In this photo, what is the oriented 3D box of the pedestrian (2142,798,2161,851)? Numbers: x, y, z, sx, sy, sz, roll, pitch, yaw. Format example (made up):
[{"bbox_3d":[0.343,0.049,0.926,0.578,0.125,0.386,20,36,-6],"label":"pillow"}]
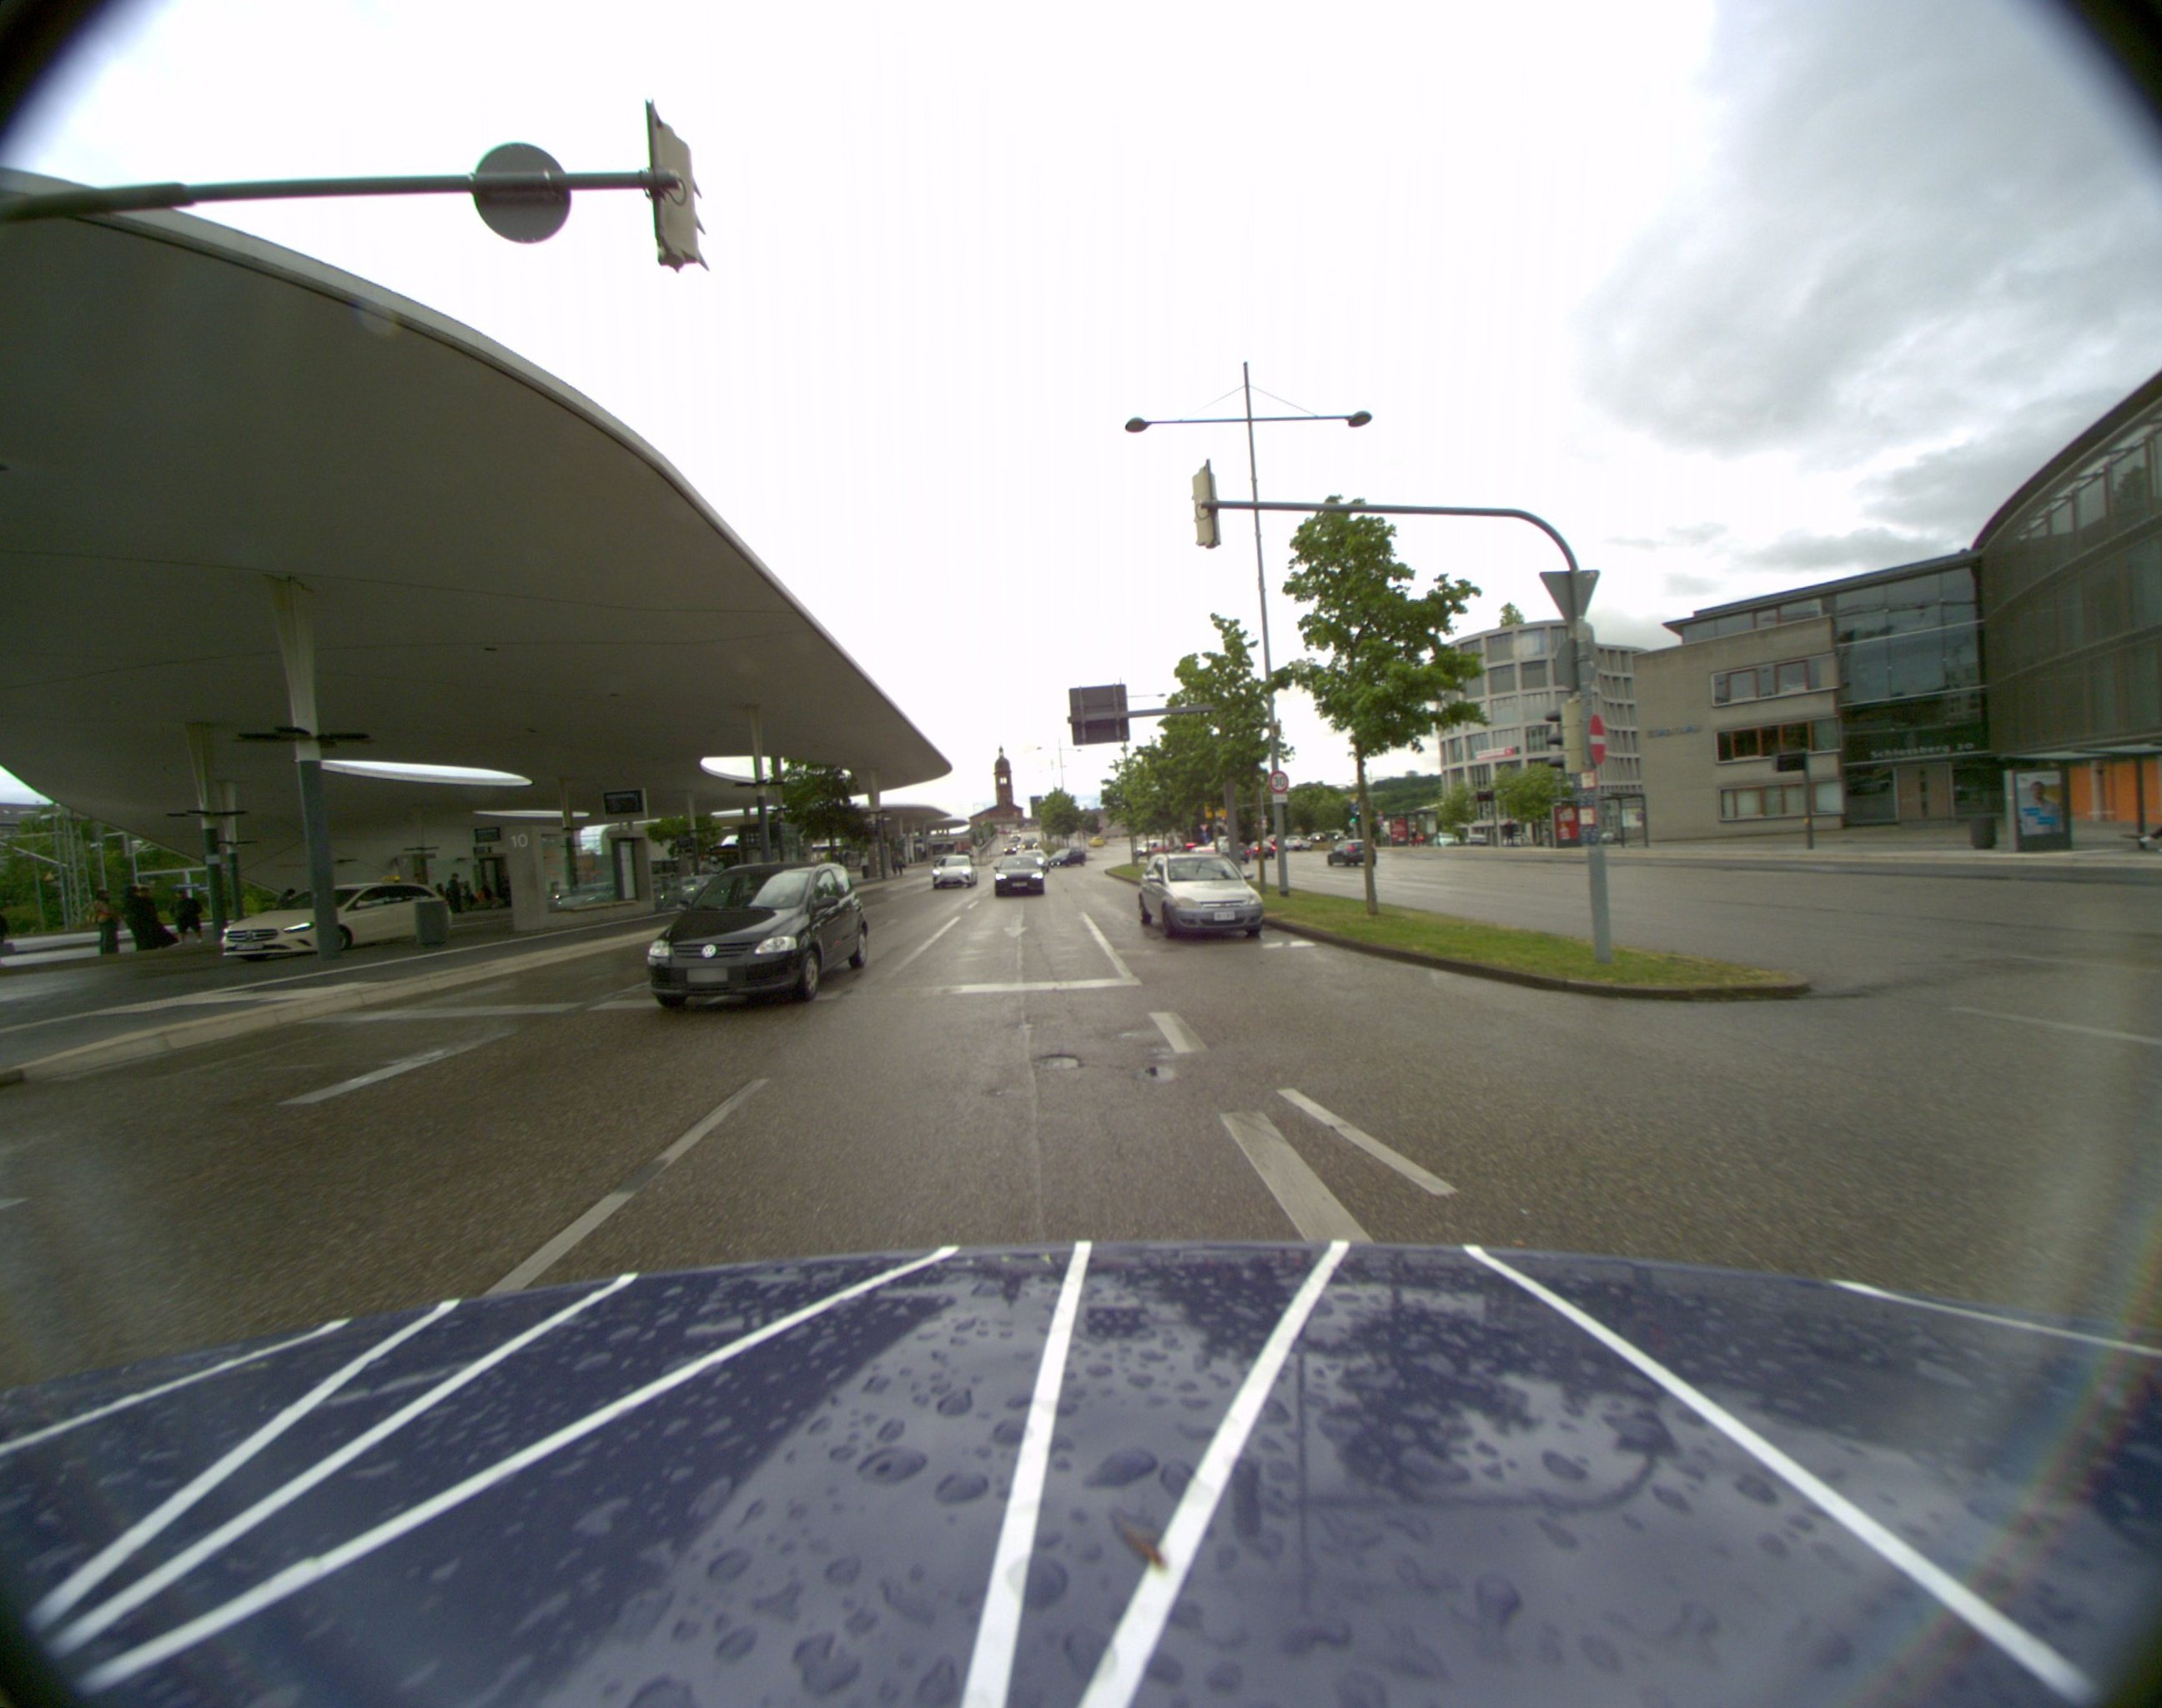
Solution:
[{"bbox_3d":[26.722,-0.724,18.536,0.668,1.292,0.719,-2,2,2],"label":"pedestrian"}]

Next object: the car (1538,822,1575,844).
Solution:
[{"bbox_3d":[39.478,-1.788,63.027,1.871,1.692,4.165,-1,2,42],"label":"car"}]

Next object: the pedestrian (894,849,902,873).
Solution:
[{"bbox_3d":[-13.585,0.522,56.334,0.445,1.754,0.537,-3,1,-10],"label":"pedestrian"}]

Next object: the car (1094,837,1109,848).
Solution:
[{"bbox_3d":[3.344,-1.883,123.751,1.874,1.625,4.159,-2,1,8],"label":"car"}]

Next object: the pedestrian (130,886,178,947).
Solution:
[{"bbox_3d":[-23.900,1.615,19.603,0.534,1.505,0.479,-3,1,2],"label":"pedestrian"}]

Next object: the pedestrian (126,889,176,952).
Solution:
[{"bbox_3d":[-23.161,1.644,18.927,0.534,1.505,0.479,-3,1,2],"label":"pedestrian"}]

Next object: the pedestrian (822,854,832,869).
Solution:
[{"bbox_3d":[-34.655,0.979,103.658,1.026,2.002,0.878,-3,2,-23],"label":"pedestrian"}]

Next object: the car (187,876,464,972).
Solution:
[{"bbox_3d":[-17.271,1.492,17.797,1.999,1.671,4.539,-2,1,-3],"label":"car"}]

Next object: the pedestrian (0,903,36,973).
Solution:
[{"bbox_3d":[-25.398,1.968,17.847,0.641,1.586,0.741,-2,2,11],"label":"pedestrian"}]

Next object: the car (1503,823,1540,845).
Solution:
[{"bbox_3d":[37.392,-1.721,64.493,1.872,1.692,4.165,-2,1,42],"label":"car"}]

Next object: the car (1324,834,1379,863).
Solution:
[{"bbox_3d":[15.174,-0.316,42.783,1.681,1.504,3.862,-2,1,0],"label":"car"}]

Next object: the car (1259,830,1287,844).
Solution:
[{"bbox_3d":[24.708,-2.144,97.761,1.872,1.624,4.165,-2,1,37],"label":"car"}]

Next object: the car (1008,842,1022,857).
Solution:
[{"bbox_3d":[-9.782,-0.696,112.705,1.999,2.002,3.998,-2,1,-4],"label":"car"}]

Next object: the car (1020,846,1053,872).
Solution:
[{"bbox_3d":[-3.070,0.302,53.012,1.875,1.625,4.300,-2,1,2],"label":"car"}]

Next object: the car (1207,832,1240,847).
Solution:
[{"bbox_3d":[16.850,-1.731,89.695,1.871,1.625,4.293,-1,2,43],"label":"car"}]

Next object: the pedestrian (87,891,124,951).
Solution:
[{"bbox_3d":[-25.816,1.762,20.112,0.534,1.505,0.480,-2,2,32],"label":"pedestrian"}]

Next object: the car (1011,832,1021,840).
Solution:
[{"bbox_3d":[-13.603,-3.816,159.113,1.650,1.552,3.646,-2,1,-8],"label":"car"}]

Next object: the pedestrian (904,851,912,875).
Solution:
[{"bbox_3d":[-12.858,0.641,56.416,0.446,1.754,0.536,-3,2,-18],"label":"pedestrian"}]

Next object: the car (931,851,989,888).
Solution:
[{"bbox_3d":[-5.775,0.696,36.689,1.810,1.550,4.050,-2,1,4],"label":"car"}]

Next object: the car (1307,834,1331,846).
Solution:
[{"bbox_3d":[34.291,-2.011,109.342,1.889,1.704,4.225,-1,2,37],"label":"car"}]

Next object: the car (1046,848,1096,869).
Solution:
[{"bbox_3d":[-0.826,0.343,66.033,1.871,1.625,4.165,0,2,45],"label":"car"}]

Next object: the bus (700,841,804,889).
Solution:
[{"bbox_3d":[-23.816,0.655,55.977,2.877,3.064,11.917,-2,1,-3],"label":"bus"}]

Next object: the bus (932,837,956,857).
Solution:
[{"bbox_3d":[-23.027,-1.187,127.372,3.585,3.080,10.742,-3,1,-12],"label":"bus"}]

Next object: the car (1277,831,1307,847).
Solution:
[{"bbox_3d":[22.256,-1.578,80.293,1.960,1.609,4.207,-2,1,1],"label":"car"}]

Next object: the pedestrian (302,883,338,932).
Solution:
[{"bbox_3d":[-23.994,1.681,23.972,0.479,1.505,0.535,-3,1,1],"label":"pedestrian"}]

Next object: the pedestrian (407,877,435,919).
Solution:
[{"bbox_3d":[-24.235,1.609,27.906,0.479,1.505,0.535,-3,1,1],"label":"pedestrian"}]

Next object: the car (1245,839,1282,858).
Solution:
[{"bbox_3d":[14.798,-0.501,61.792,1.961,1.414,3.998,-2,1,-2],"label":"car"}]

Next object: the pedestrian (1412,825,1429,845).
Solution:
[{"bbox_3d":[25.674,-1.422,57.447,0.983,1.482,0.734,-2,2,7],"label":"pedestrian"}]

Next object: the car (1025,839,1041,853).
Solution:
[{"bbox_3d":[-7.360,-1.220,115.918,2.000,2.002,3.996,-2,1,-8],"label":"car"}]

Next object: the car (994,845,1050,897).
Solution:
[{"bbox_3d":[-2.177,0.571,28.352,1.876,1.692,4.155,-2,1,-4],"label":"car"}]

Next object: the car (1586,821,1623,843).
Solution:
[{"bbox_3d":[41.766,-1.769,60.531,1.871,1.692,4.165,-1,2,42],"label":"car"}]

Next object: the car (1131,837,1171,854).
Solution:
[{"bbox_3d":[7.370,-0.877,79.427,4.165,1.625,1.871,-3,2,-45],"label":"car"}]

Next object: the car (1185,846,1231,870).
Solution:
[{"bbox_3d":[8.078,0.229,48.603,2.010,1.345,4.162,-2,1,-3],"label":"car"}]

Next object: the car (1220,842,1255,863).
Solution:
[{"bbox_3d":[11.556,-0.142,56.345,1.699,1.457,4.450,-2,1,0],"label":"car"}]

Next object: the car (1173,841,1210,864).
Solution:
[{"bbox_3d":[8.069,-0.112,55.914,2.010,1.545,4.163,-2,1,0],"label":"car"}]

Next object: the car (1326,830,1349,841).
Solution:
[{"bbox_3d":[39.935,-2.898,118.225,1.889,1.704,4.225,-1,2,39],"label":"car"}]

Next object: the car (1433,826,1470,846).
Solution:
[{"bbox_3d":[33.311,-1.651,68.266,1.871,1.692,4.165,-1,2,42],"label":"car"}]

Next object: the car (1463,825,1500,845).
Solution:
[{"bbox_3d":[35.111,-1.674,66.520,1.871,1.692,4.165,-1,2,42],"label":"car"}]

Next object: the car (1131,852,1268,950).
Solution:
[{"bbox_3d":[2.039,0.758,14.105,1.699,1.457,3.718,-2,1,-4],"label":"car"}]

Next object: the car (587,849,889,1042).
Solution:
[{"bbox_3d":[-3.842,0.875,9.450,1.876,1.692,4.155,-2,2,-1],"label":"car"}]

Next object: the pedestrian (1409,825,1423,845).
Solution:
[{"bbox_3d":[25.747,-1.444,58.380,0.733,1.482,0.734,-2,2,5],"label":"pedestrian"}]
